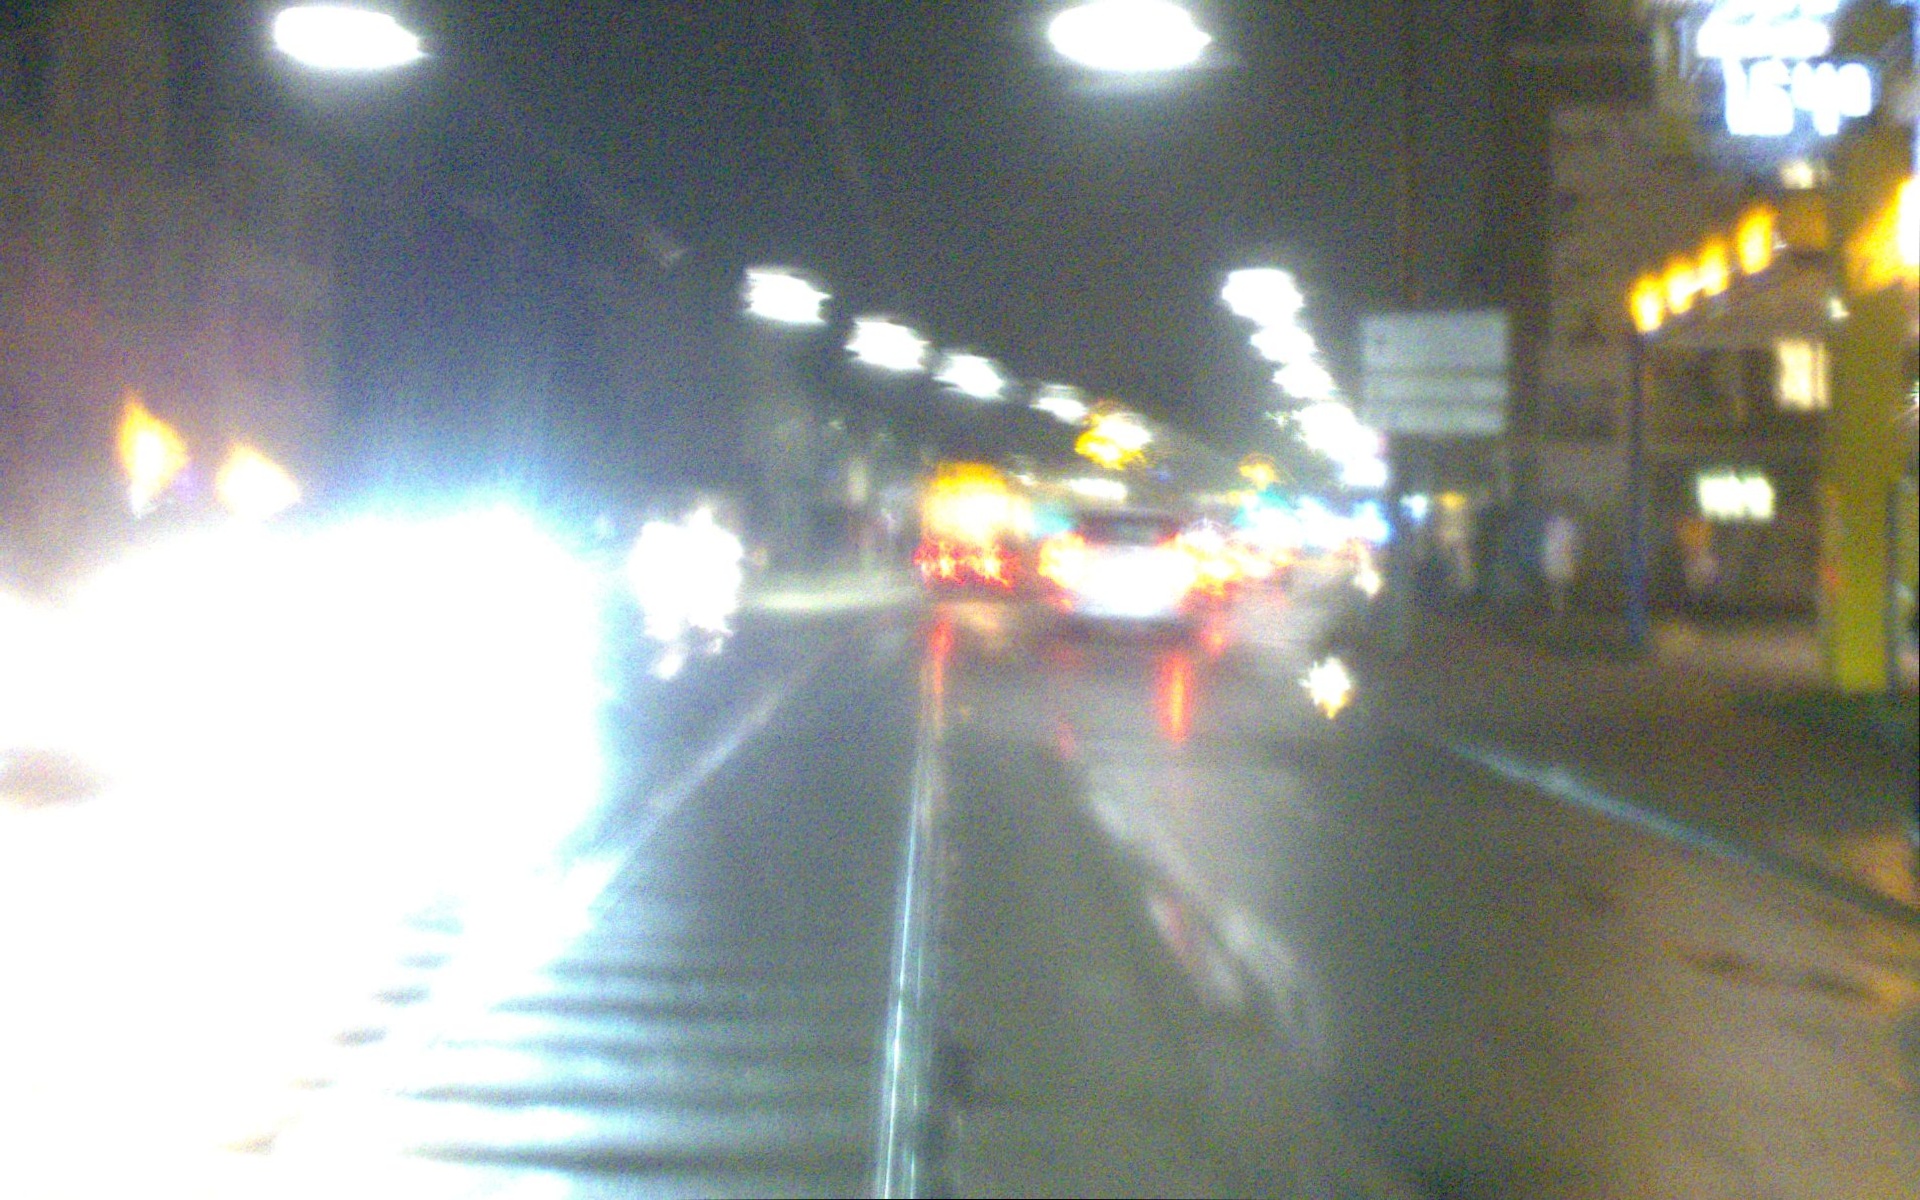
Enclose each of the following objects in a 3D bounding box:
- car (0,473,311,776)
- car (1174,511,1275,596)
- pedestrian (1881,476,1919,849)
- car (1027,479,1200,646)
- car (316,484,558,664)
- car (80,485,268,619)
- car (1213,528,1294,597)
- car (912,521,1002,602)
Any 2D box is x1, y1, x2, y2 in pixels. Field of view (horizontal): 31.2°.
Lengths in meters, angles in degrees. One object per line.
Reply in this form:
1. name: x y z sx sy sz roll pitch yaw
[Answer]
1. car: -5.373 0.103 21.725 1.993 1.718 4.077 1 1 -4
2. car: 5.837 -1.035 76.260 2.016 1.809 4.000 1 1 2
3. pedestrian: 4.889 0.300 16.629 0.778 1.770 0.693 1 1 17
4. car: 2.245 -0.573 51.515 2.244 2.353 4.394 1 1 -1
5. car: -5.981 -0.324 39.894 2.319 1.925 4.964 1 1 -4
6. car: -12.354 -0.765 54.304 1.993 2.007 4.000 1 1 1
7. car: 8.799 -1.145 103.173 1.993 2.007 4.000 1 1 -1
8. car: -0.094 -0.918 80.846 1.993 1.809 4.000 1 1 -1
